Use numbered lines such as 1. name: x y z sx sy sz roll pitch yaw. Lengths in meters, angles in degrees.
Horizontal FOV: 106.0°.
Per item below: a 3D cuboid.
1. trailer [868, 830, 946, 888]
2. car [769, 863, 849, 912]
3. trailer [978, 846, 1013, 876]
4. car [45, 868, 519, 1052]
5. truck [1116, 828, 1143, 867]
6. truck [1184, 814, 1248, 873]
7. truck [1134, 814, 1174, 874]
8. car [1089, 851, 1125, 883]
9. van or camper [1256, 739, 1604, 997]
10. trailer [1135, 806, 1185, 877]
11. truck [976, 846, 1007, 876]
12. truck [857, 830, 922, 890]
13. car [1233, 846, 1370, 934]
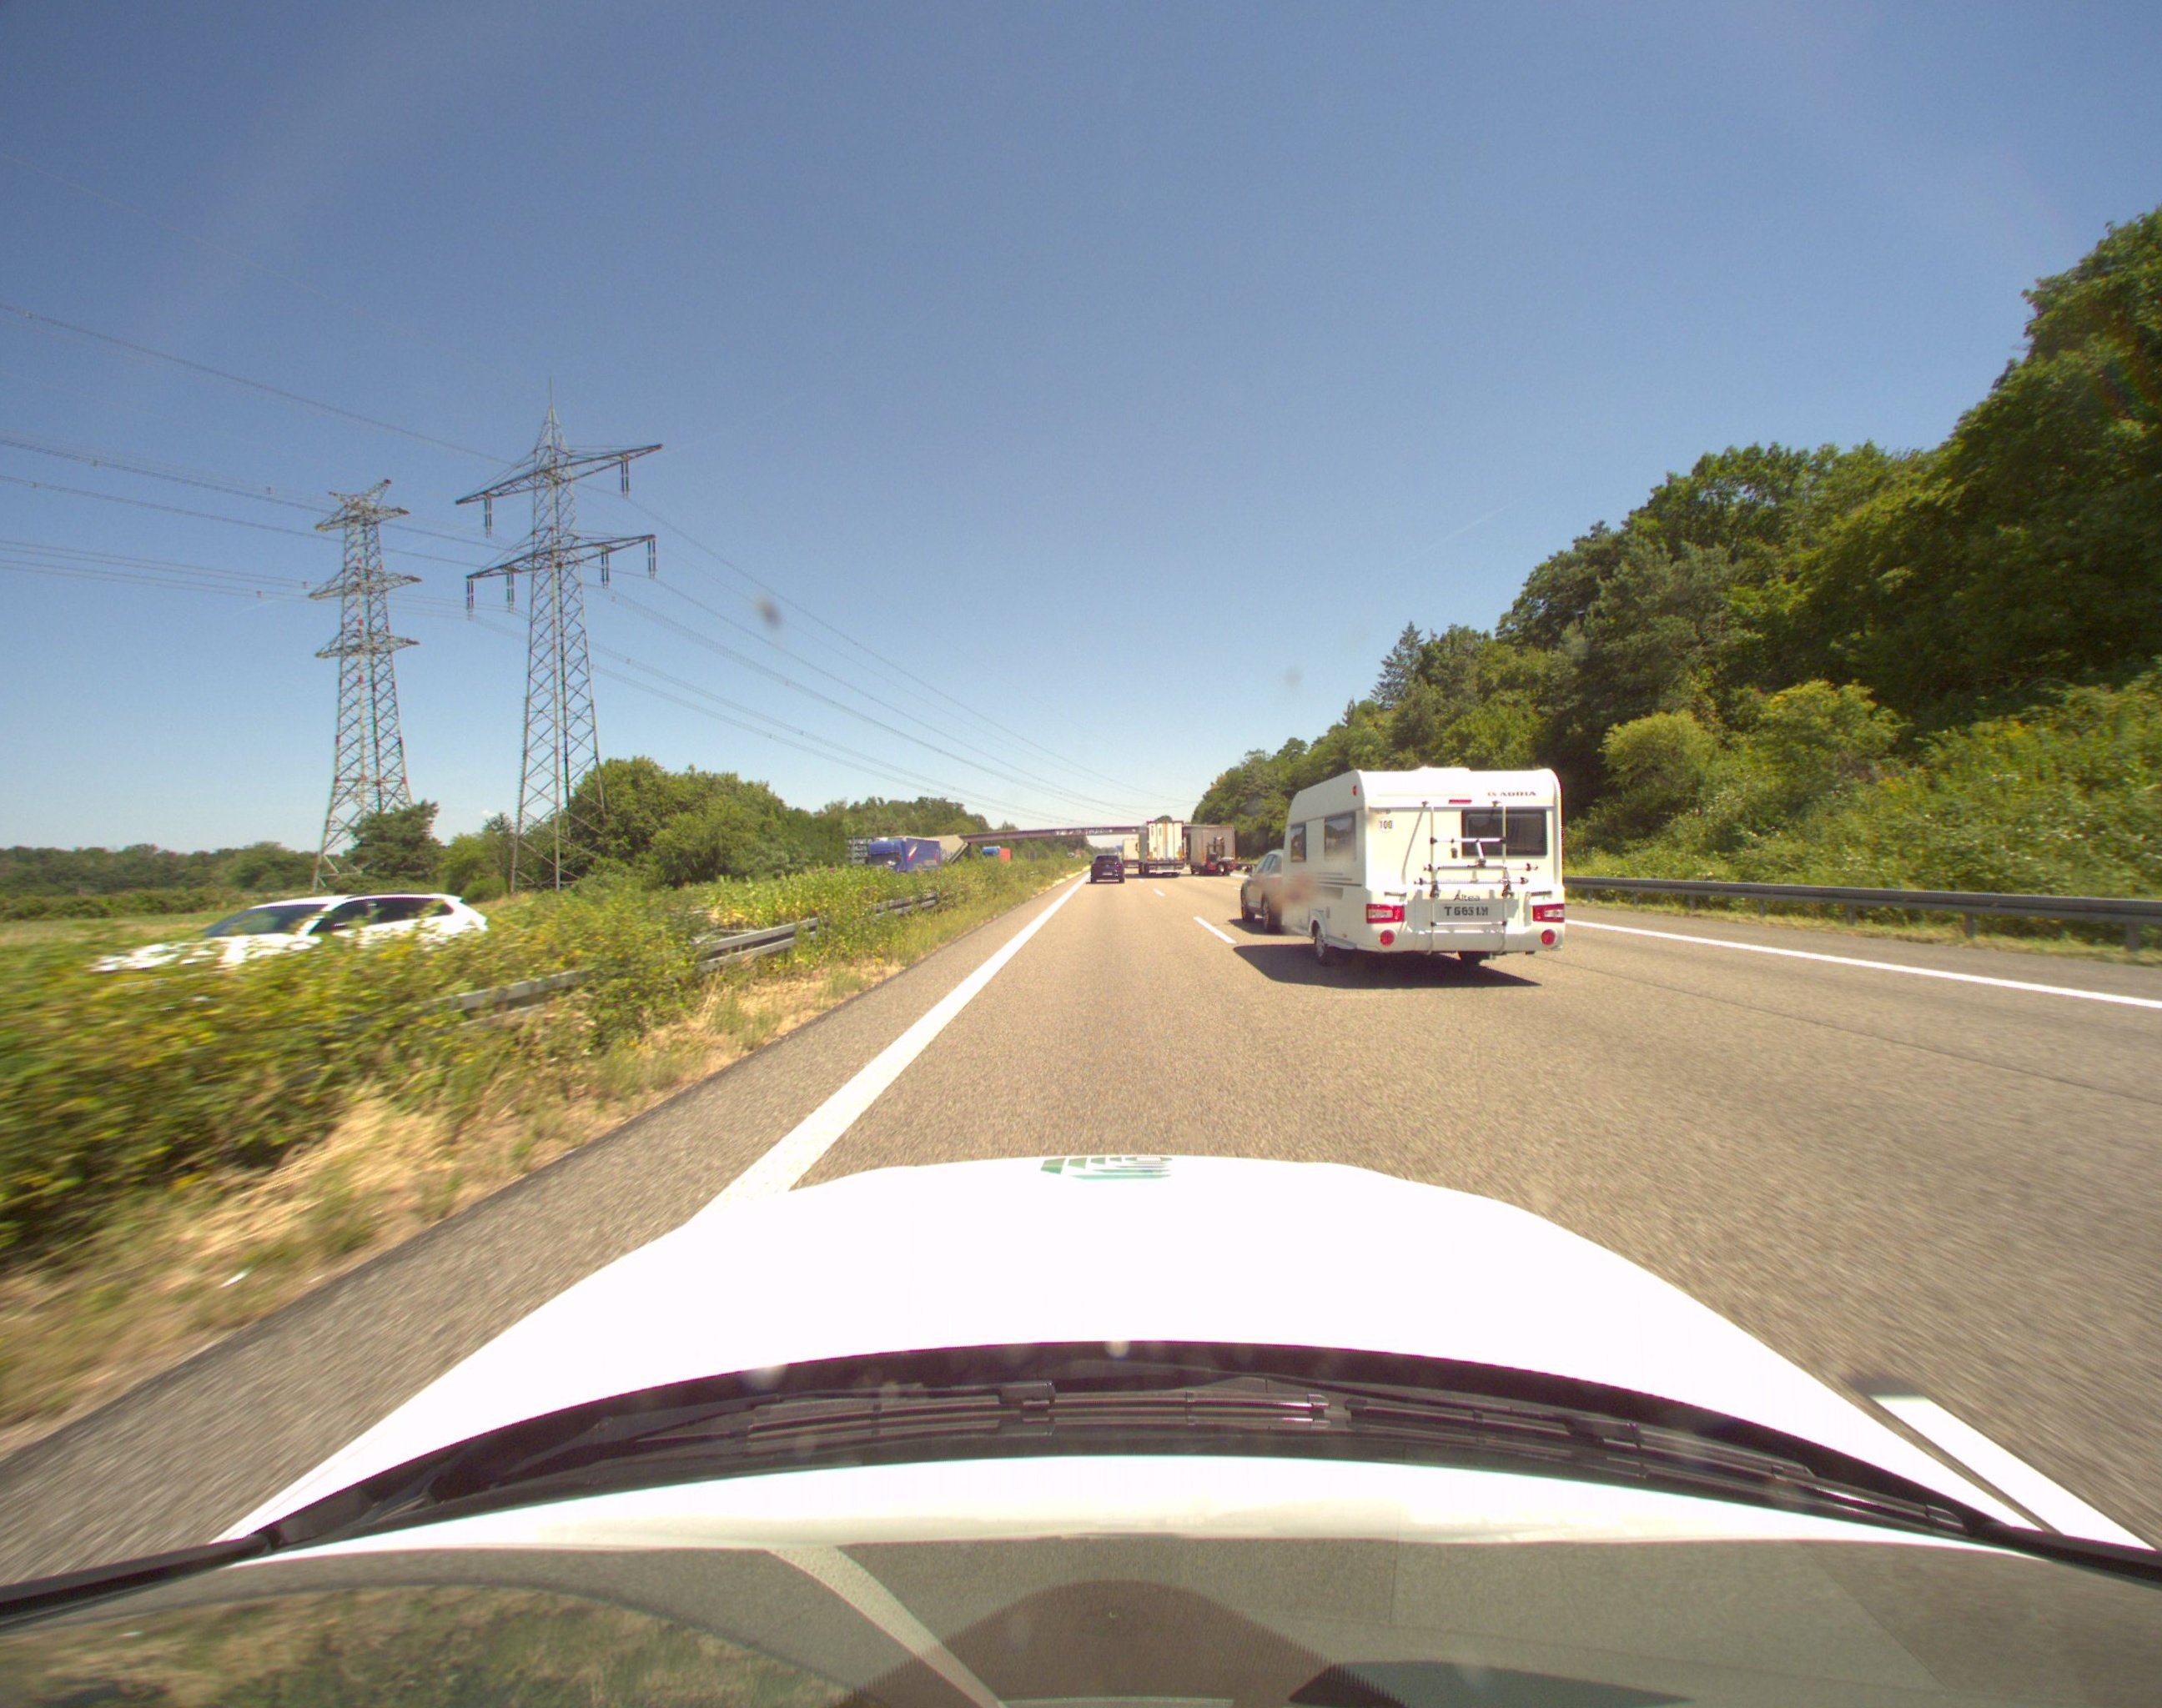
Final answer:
1. trailer: -15.094 0.452 72.245 3.076 4.407 14.237 -4 0 2
2. car: -12.081 1.438 36.476 1.986 2.014 4.295 0 -1 2
3. trailer: -13.472 1.067 129.554 3.331 4.407 14.171 -3 0 2
4. car: -10.805 1.261 11.708 1.986 1.943 4.727 -3 0 2
5. truck: 6.828 -0.881 115.691 3.499 5.166 10.262 -1 0 2
6. truck: 10.499 -0.709 64.737 3.557 4.245 11.656 0 -1 2
7. truck: 6.146 -0.766 69.419 3.075 4.885 6.600 0 -1 2
8. car: 1.520 0.732 48.343 1.987 1.772 4.000 -2 0 1
9. van or camper: 4.408 0.148 11.875 2.430 2.675 6.352 -2 0 2
10. trailer: 5.926 -0.821 62.822 3.075 4.885 12.262 0 -1 2
11. truck: -13.637 1.054 124.581 3.331 4.407 7.975 -3 0 2
12. truck: -15.313 0.453 65.618 3.076 4.407 6.804 -4 0 2
13. car: 4.520 0.677 17.447 1.871 1.612 4.705 -1 0 3
